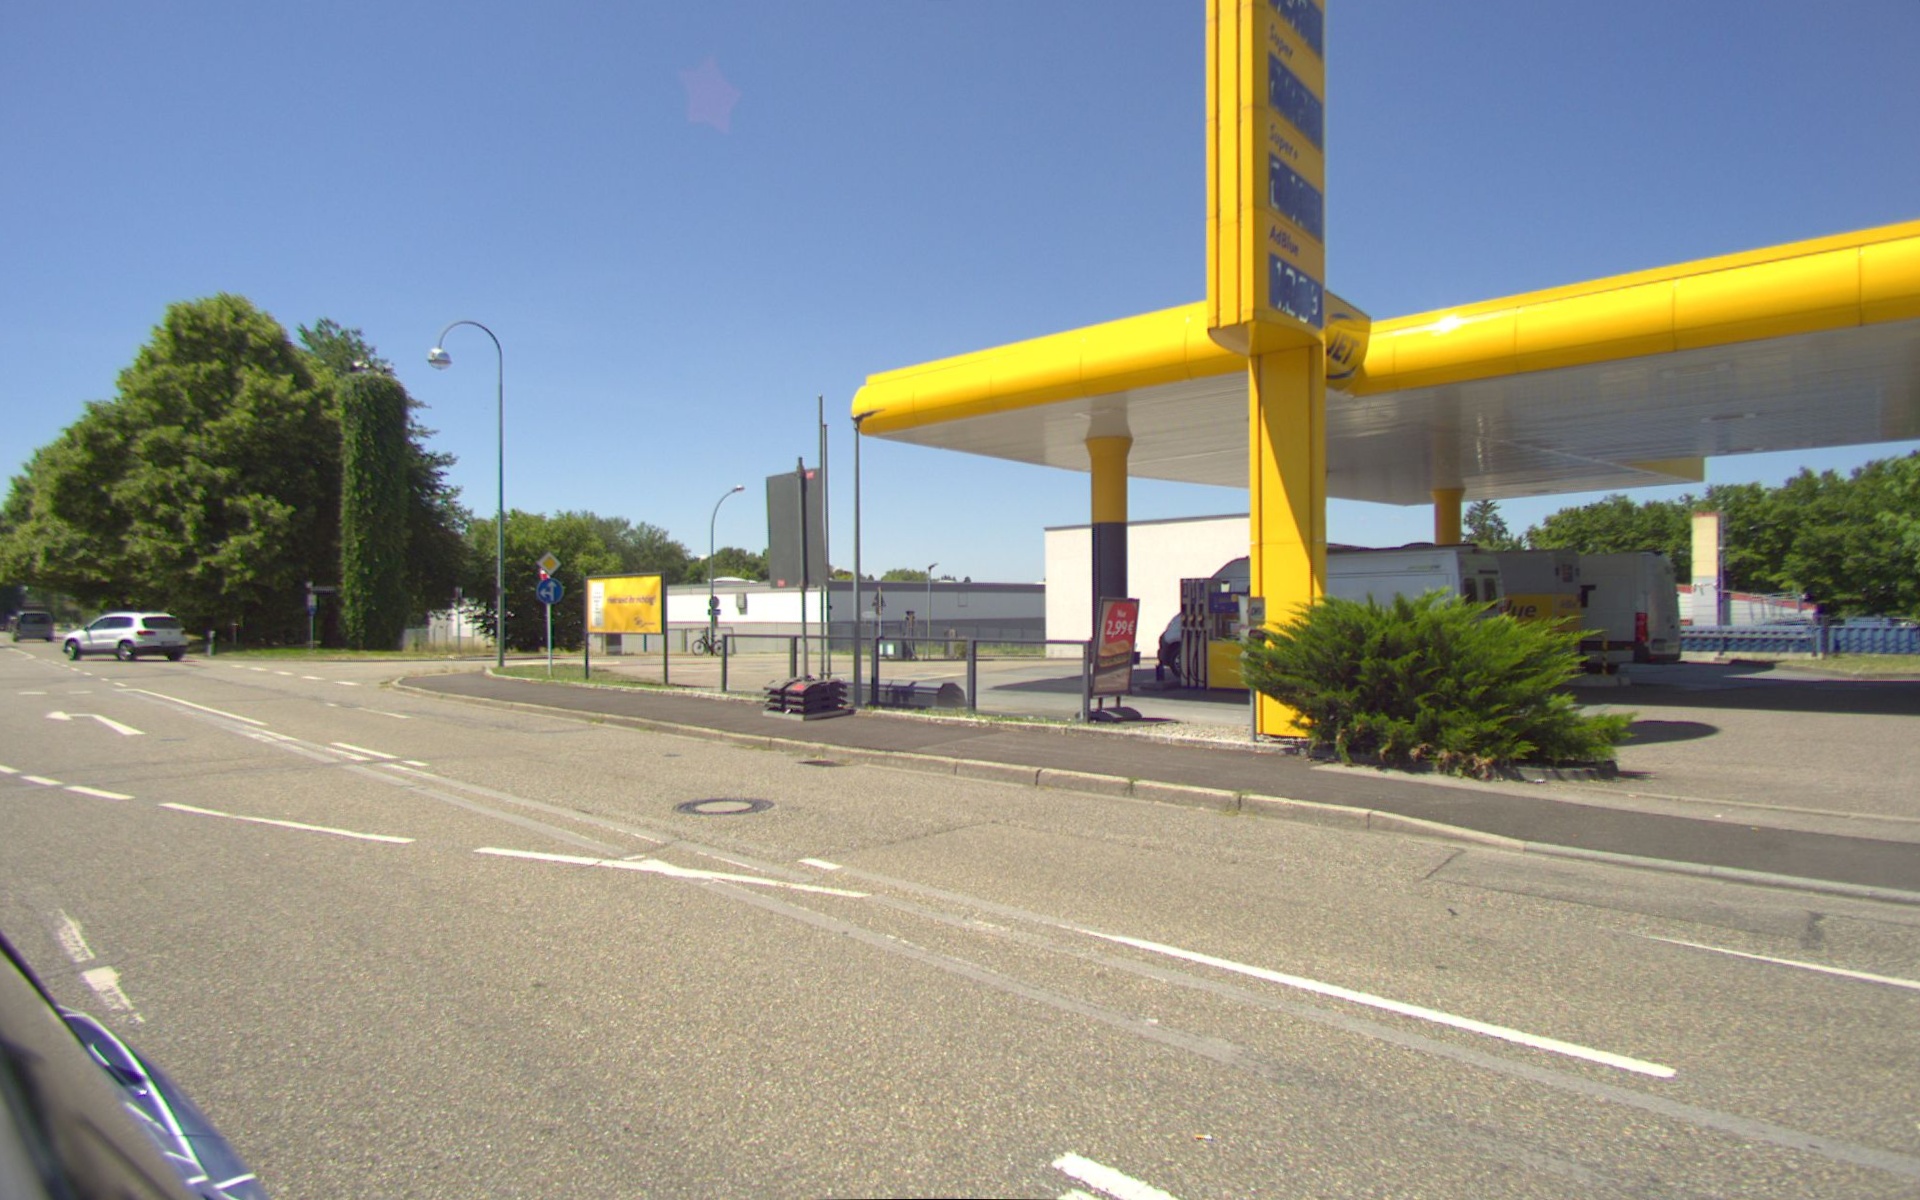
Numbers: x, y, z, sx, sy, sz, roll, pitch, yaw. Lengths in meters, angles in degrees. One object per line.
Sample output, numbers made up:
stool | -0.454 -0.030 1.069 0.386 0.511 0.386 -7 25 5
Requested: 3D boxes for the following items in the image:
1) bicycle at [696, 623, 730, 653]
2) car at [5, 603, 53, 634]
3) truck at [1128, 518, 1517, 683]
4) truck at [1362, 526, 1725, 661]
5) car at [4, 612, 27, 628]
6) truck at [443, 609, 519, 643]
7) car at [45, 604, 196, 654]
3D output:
bicycle | -11.468 1.737 46.933 1.517 1.359 0.395 1 -1 -40
car | -56.092 1.146 60.950 4.365 1.786 1.776 -2 -3 44
truck | 6.564 -0.011 19.272 2.206 2.618 6.740 -1 1 -42
truck | 13.019 -0.158 23.185 2.878 2.618 6.618 -1 1 -34
car | -110.757 2.361 118.692 1.856 1.848 5.302 0 0 -45
truck | -43.095 2.296 90.940 10.160 2.818 2.656 -1 0 44
car | -29.273 1.002 35.340 4.206 1.685 1.967 -1 -1 13
